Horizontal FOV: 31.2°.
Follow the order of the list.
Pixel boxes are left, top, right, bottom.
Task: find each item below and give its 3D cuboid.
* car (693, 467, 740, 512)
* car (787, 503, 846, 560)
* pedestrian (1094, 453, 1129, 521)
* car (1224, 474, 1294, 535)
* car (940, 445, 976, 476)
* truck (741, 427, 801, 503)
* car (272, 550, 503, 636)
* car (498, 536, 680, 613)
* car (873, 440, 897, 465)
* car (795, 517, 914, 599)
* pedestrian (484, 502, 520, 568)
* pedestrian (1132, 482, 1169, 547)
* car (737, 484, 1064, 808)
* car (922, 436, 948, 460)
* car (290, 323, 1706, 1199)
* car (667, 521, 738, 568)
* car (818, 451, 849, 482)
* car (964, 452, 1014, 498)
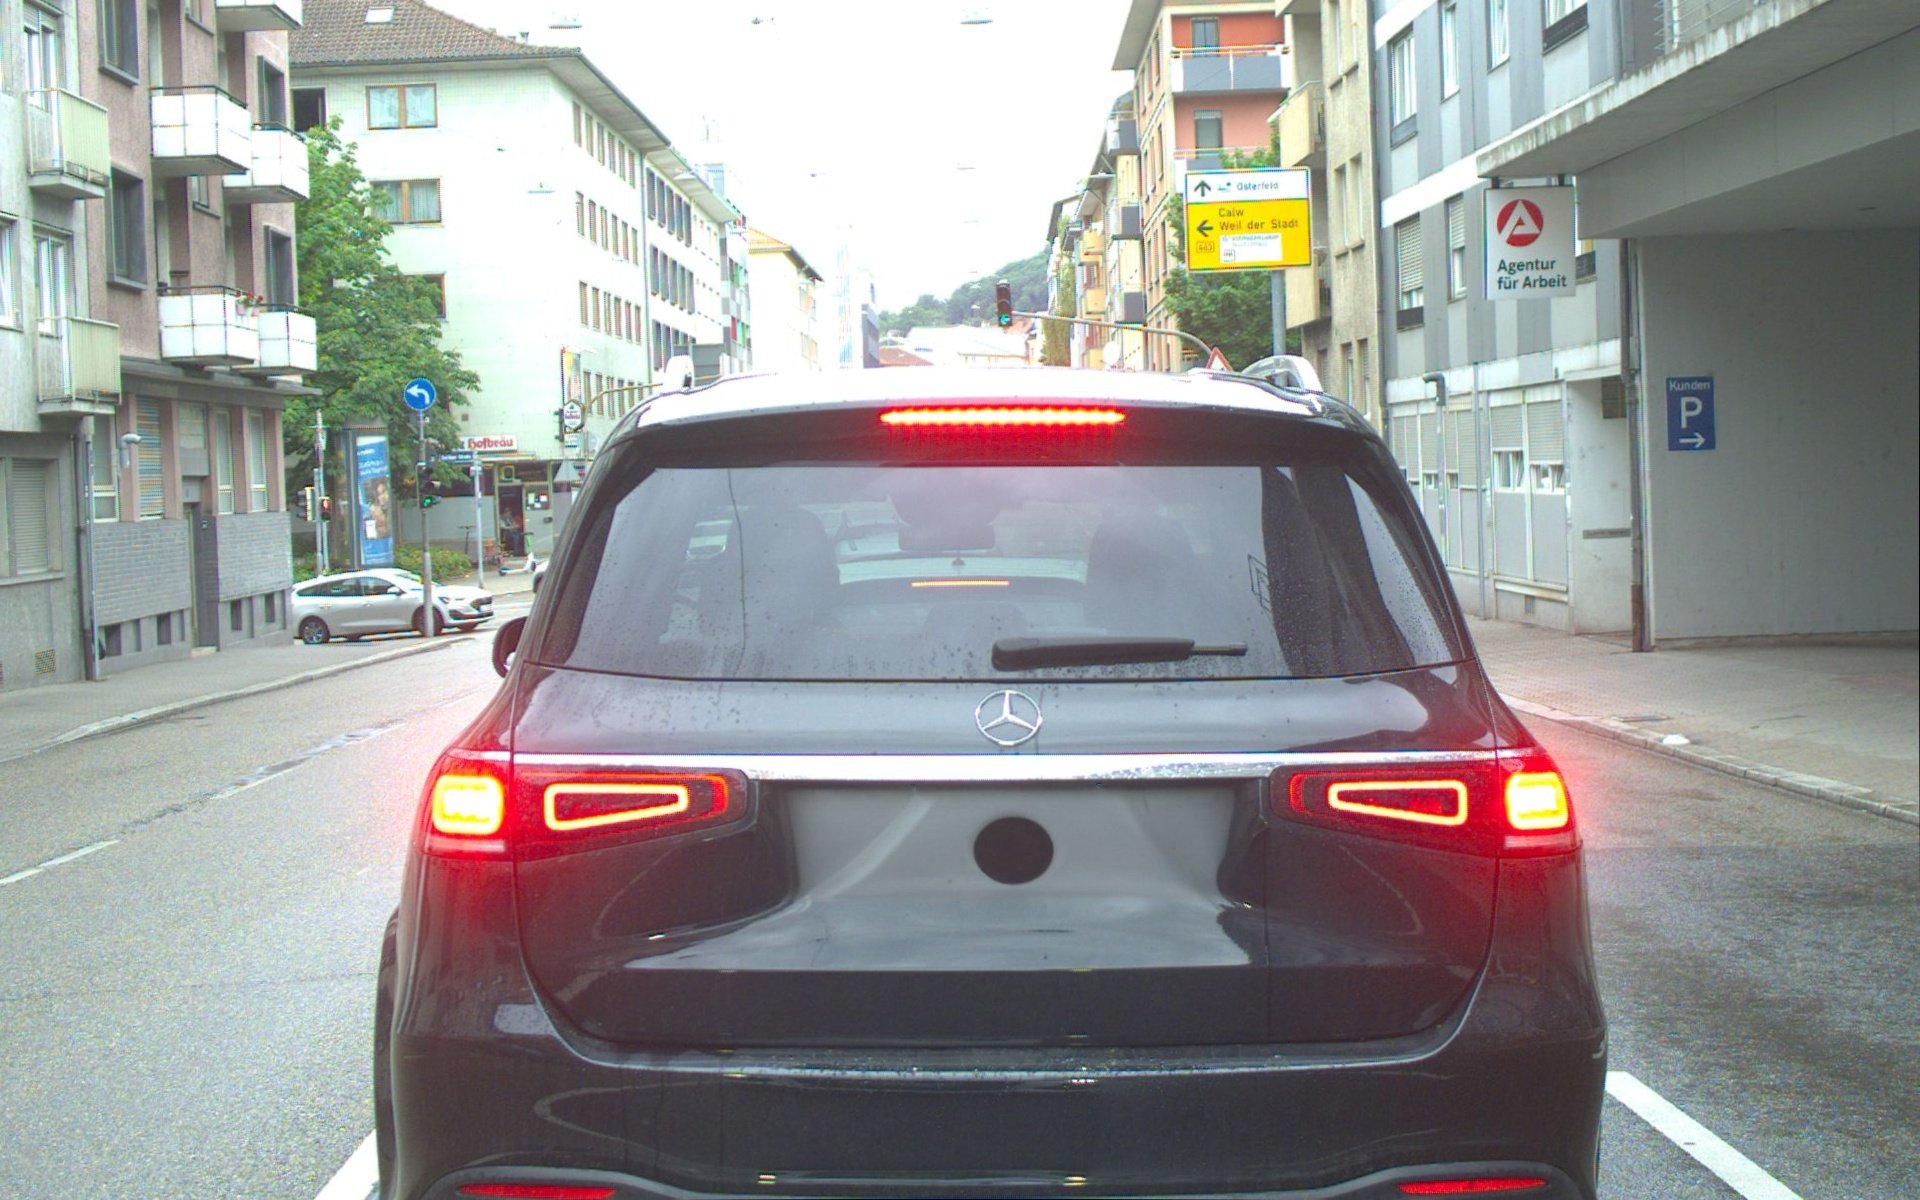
[{"bbox_3d":[-9.324,-4.207,131.621,1.618,1.534,4.218,-3,1,-3],"label":"car"},{"bbox_3d":[-4.234,-1.991,101.253,1.618,1.534,4.218,-3,1,-3],"label":"car"},{"bbox_3d":[4.559,-3.411,103.755,0.923,2.007,0.706,-2,1,-2],"label":"pedestrian"},{"bbox_3d":[8.217,-2.623,94.567,1.671,1.583,3.330,-2,1,2],"label":"car"},{"bbox_3d":[-0.130,-7.292,179.619,1.618,1.382,4.218,-3,1,-3],"label":"car"},{"bbox_3d":[-8.618,-6.101,157.038,2.479,3.035,9.921,-3,1,-3],"label":"truck"},{"bbox_3d":[-11.951,-0.143,71.878,4.347,1.534,1.777,-3,1,16],"label":"car"},{"bbox_3d":[-8.649,-0.584,79.913,4.213,1.534,1.620,-3,1,39],"label":"car"},{"bbox_3d":[-5.465,-10.733,250.125,1.618,1.534,4.218,-3,1,-3],"label":"car"},{"bbox_3d":[-2.204,-0.838,70.617,1.814,1.534,4.219,-3,1,-9],"label":"car"},{"bbox_3d":[-13.591,-1.927,101.941,0.923,1.895,0.706,-2,1,-2],"label":"pedestrian"},{"bbox_3d":[5.419,-2.439,97.951,0.923,1.798,0.706,-2,1,-2],"label":"pedestrian"},{"bbox_3d":[-0.425,0.232,20.867,1.751,1.725,4.218,-1,1,-3],"label":"car"},{"bbox_3d":[-1.784,-10.826,245.045,1.618,1.534,4.218,-3,1,-3],"label":"car"},{"bbox_3d":[0.026,0.502,7.054,1.985,1.799,4.390,1,1,-1],"label":"car"},{"bbox_3d":[-7.526,-1.608,100.731,1.885,1.260,4.218,-3,1,-3],"label":"car"},{"bbox_3d":[-7.150,-7.491,193.667,1.618,1.534,4.218,-3,1,-3],"label":"car"},{"bbox_3d":[1.201,-5.199,143.493,1.723,1.753,4.218,-3,1,-3],"label":"car"}]
